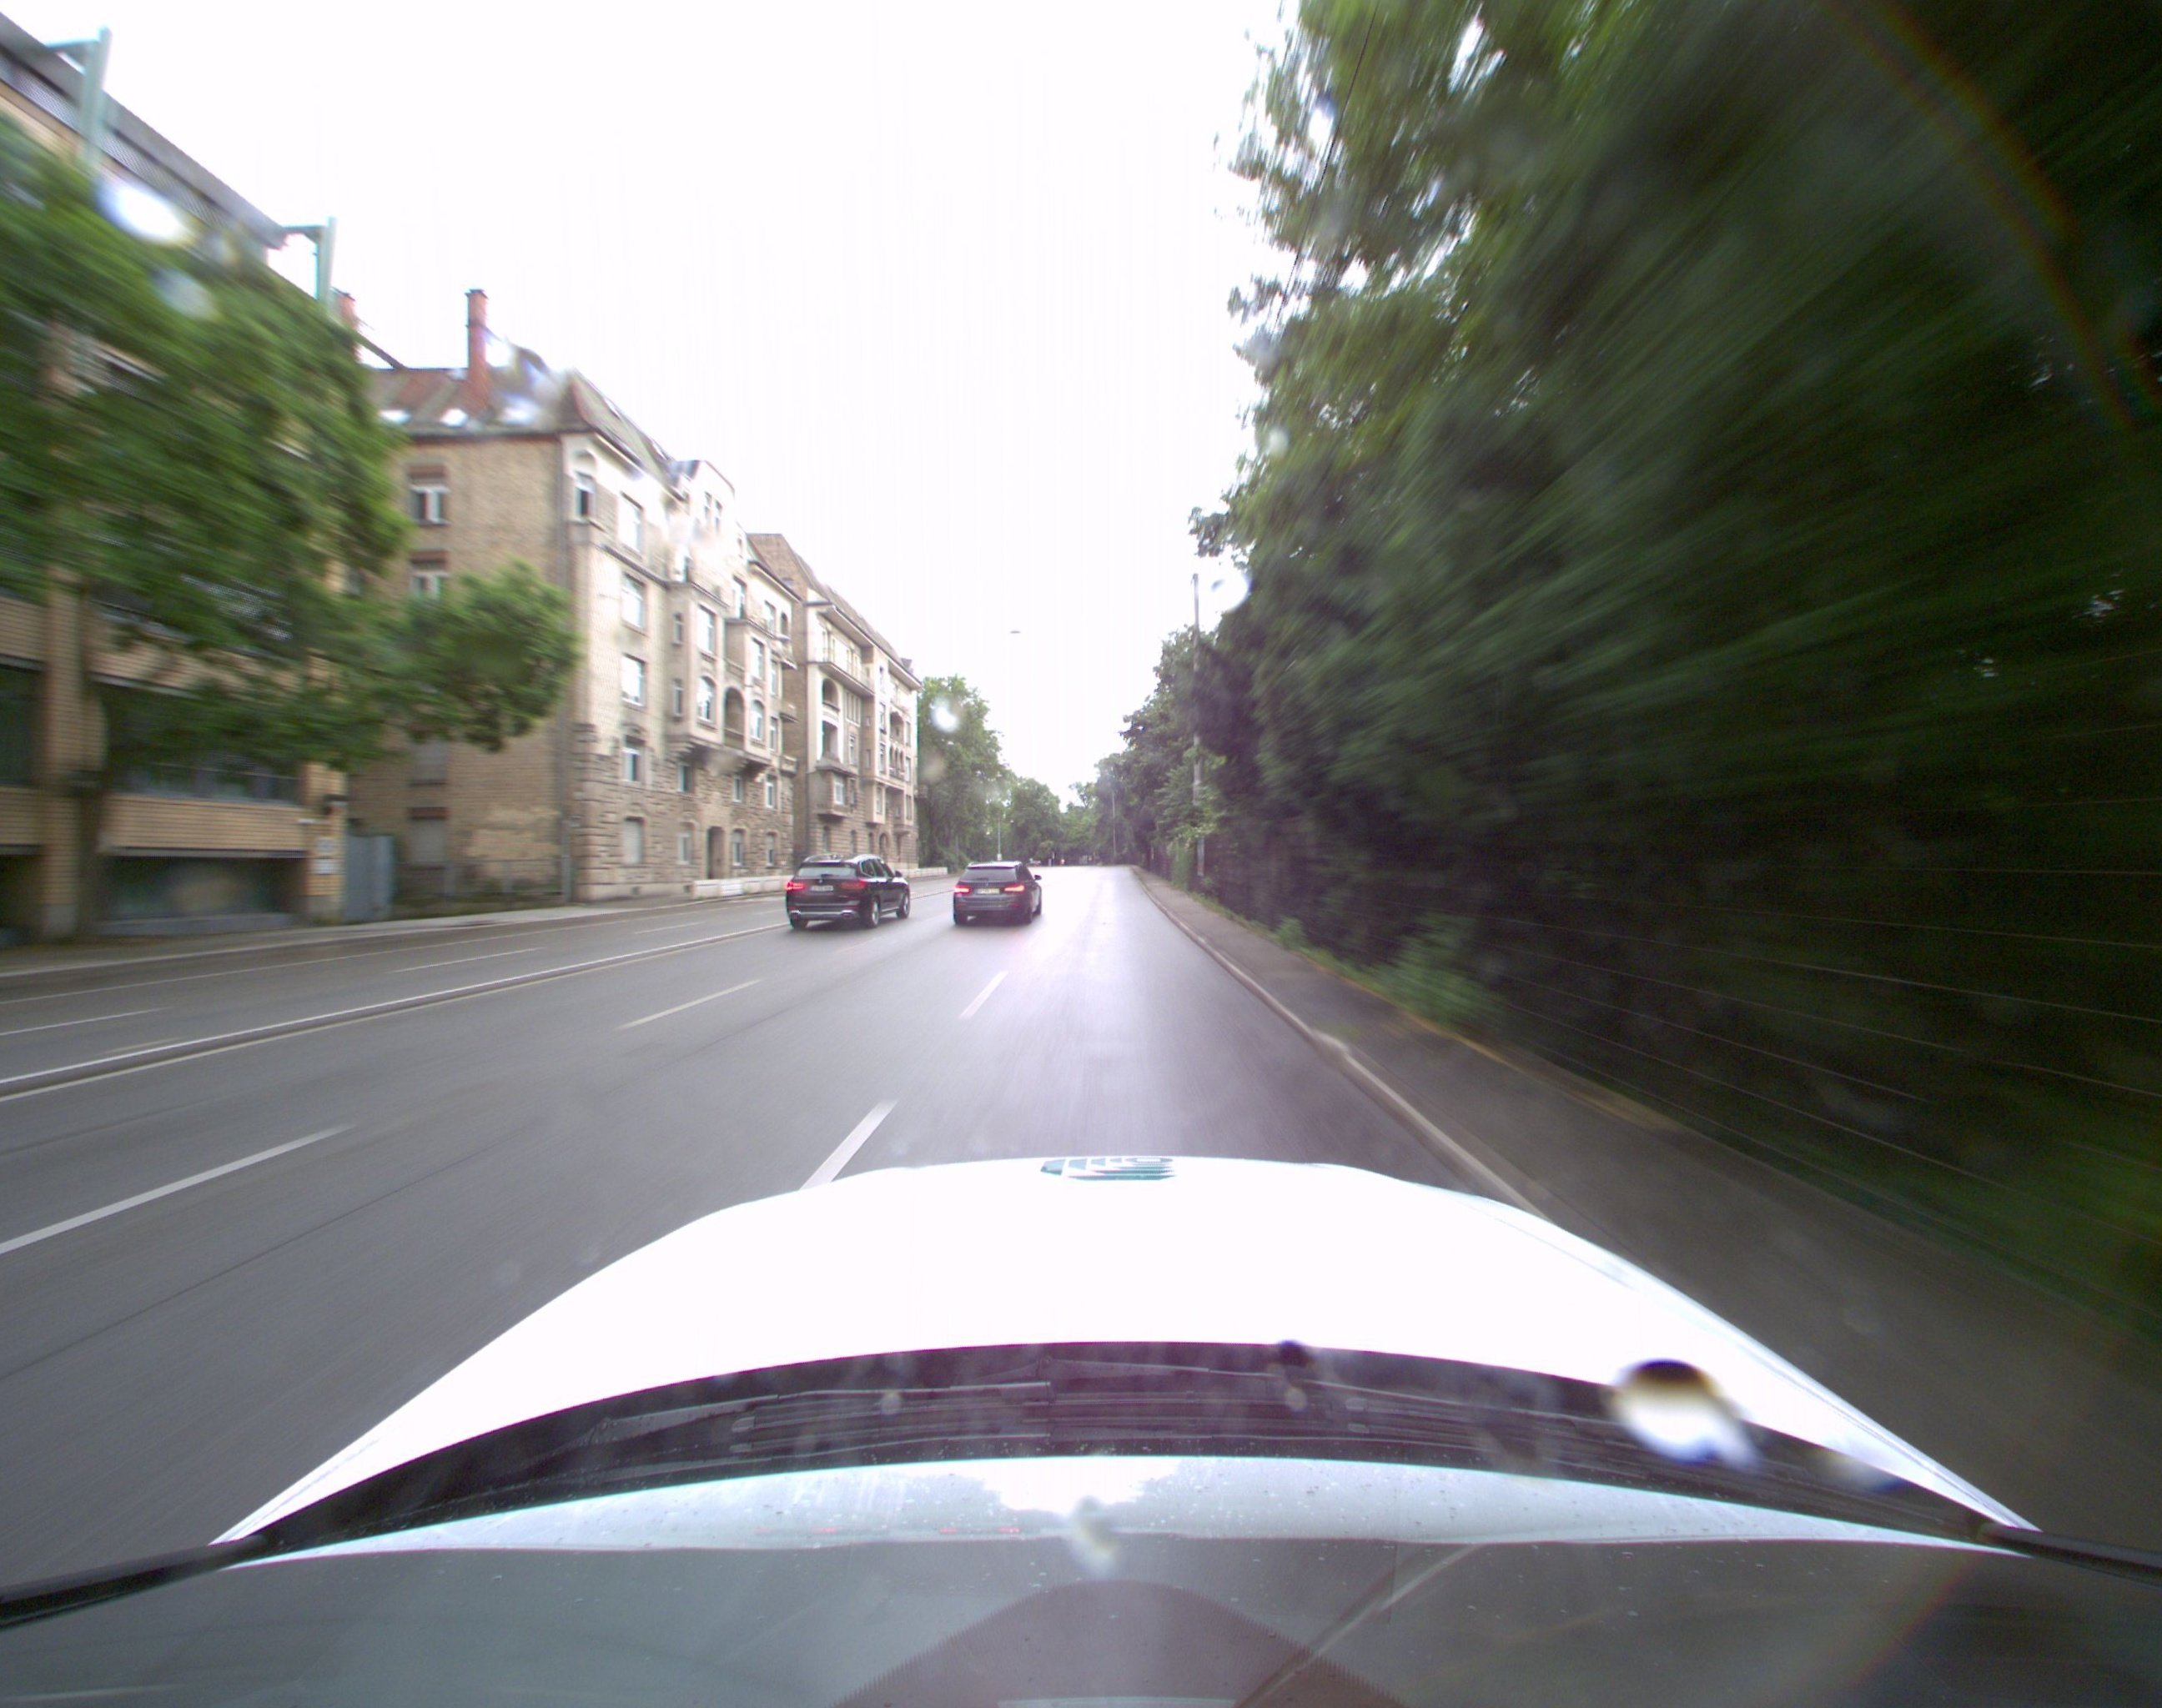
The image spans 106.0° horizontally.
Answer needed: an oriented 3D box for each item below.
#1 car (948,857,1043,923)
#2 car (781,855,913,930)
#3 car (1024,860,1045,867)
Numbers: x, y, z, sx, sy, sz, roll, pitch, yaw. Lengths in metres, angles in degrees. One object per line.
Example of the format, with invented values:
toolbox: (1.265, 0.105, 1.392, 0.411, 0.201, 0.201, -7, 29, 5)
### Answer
car: (-1.984, 0.814, 20.172, 1.751, 1.432, 4.414, 1, 0, 1)
car: (-5.413, 0.830, 19.423, 1.751, 1.586, 4.414, 0, 0, 1)
car: (-9.298, 1.912, 161.115, 1.702, 1.427, 4.317, 4, -4, -44)
